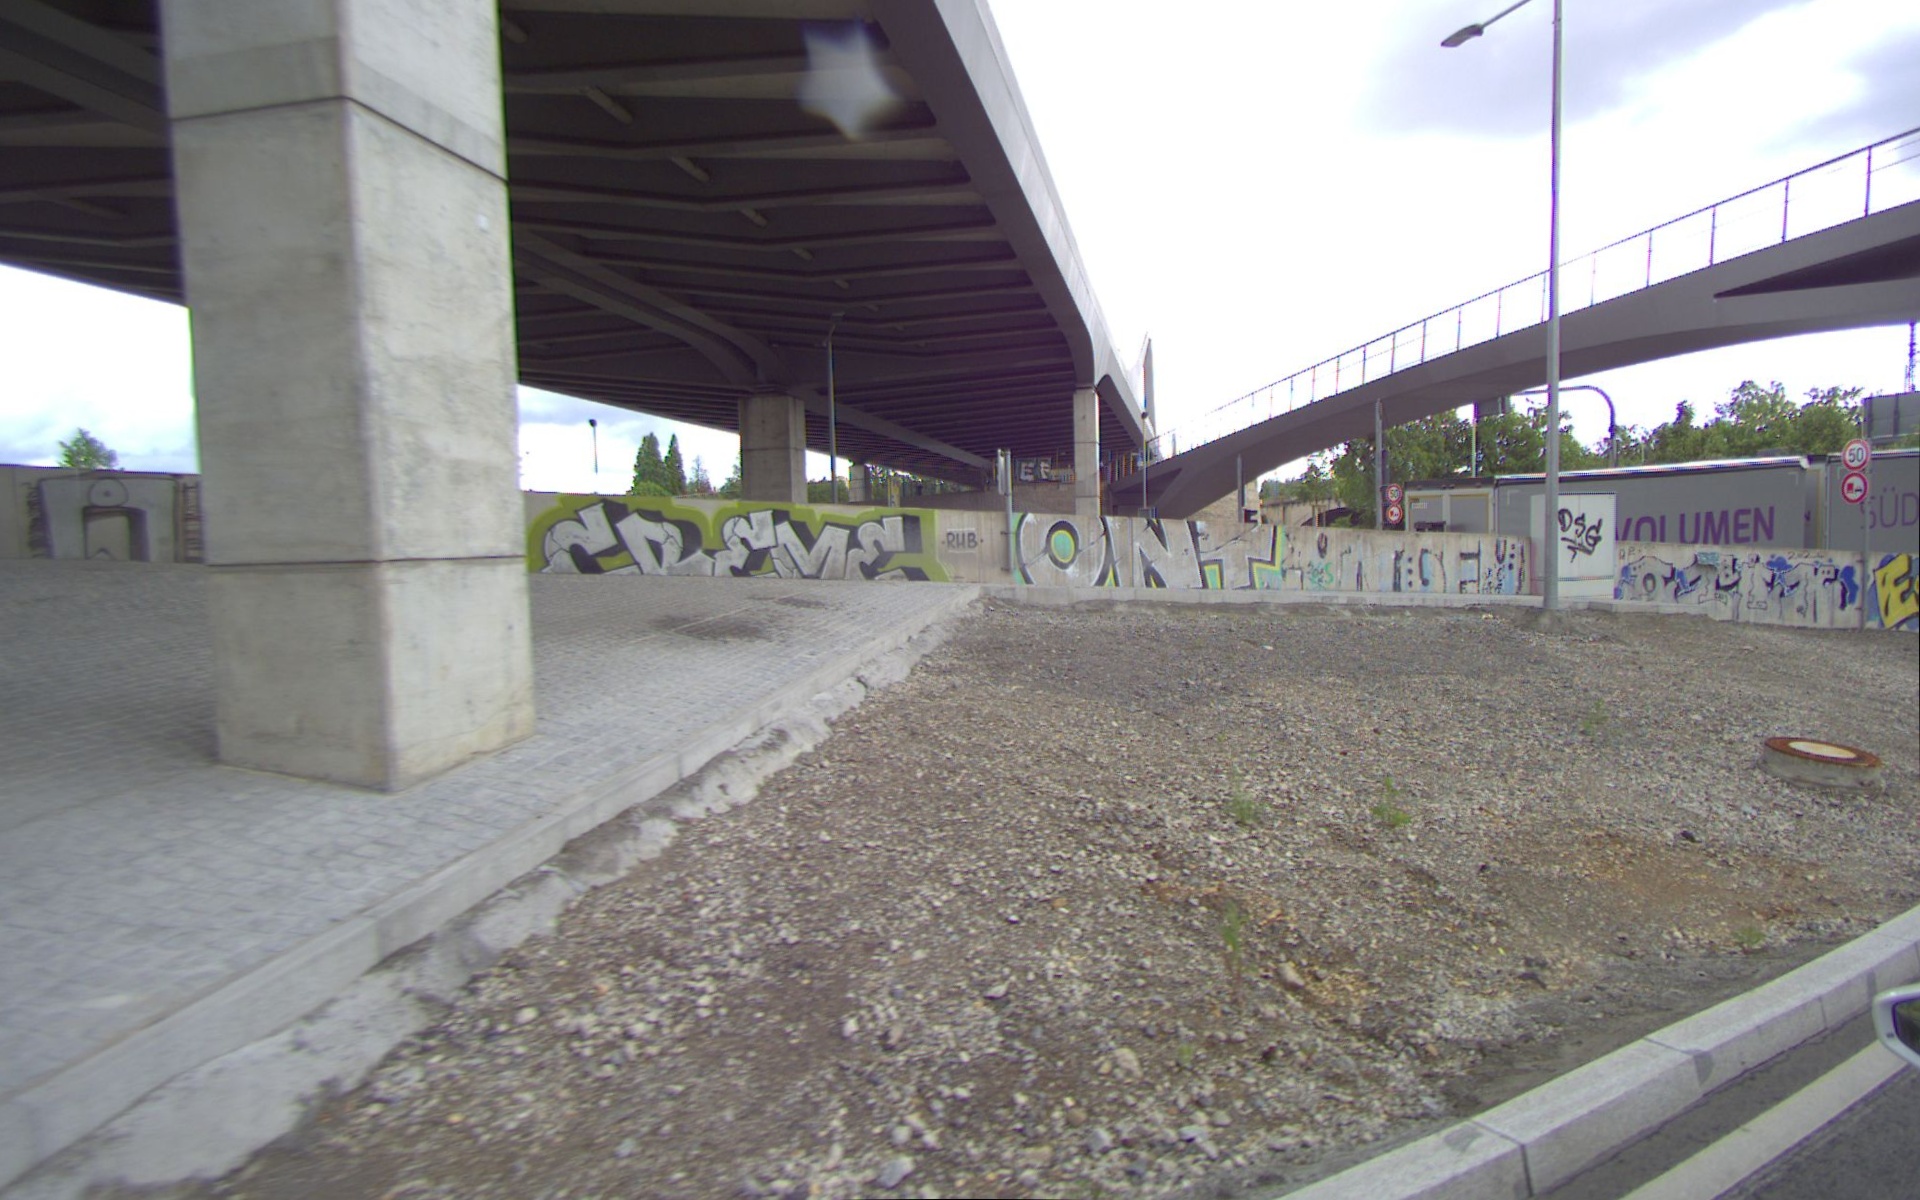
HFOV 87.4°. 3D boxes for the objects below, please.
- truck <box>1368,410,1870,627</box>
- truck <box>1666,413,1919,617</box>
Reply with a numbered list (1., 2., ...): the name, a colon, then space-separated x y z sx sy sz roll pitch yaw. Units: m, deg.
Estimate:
1. truck: 14.059 -1.755 21.562 10.026 4.072 2.918 -2 4 -14
2. truck: 22.507 -2.020 23.706 11.048 4.233 2.988 -2 4 -14
